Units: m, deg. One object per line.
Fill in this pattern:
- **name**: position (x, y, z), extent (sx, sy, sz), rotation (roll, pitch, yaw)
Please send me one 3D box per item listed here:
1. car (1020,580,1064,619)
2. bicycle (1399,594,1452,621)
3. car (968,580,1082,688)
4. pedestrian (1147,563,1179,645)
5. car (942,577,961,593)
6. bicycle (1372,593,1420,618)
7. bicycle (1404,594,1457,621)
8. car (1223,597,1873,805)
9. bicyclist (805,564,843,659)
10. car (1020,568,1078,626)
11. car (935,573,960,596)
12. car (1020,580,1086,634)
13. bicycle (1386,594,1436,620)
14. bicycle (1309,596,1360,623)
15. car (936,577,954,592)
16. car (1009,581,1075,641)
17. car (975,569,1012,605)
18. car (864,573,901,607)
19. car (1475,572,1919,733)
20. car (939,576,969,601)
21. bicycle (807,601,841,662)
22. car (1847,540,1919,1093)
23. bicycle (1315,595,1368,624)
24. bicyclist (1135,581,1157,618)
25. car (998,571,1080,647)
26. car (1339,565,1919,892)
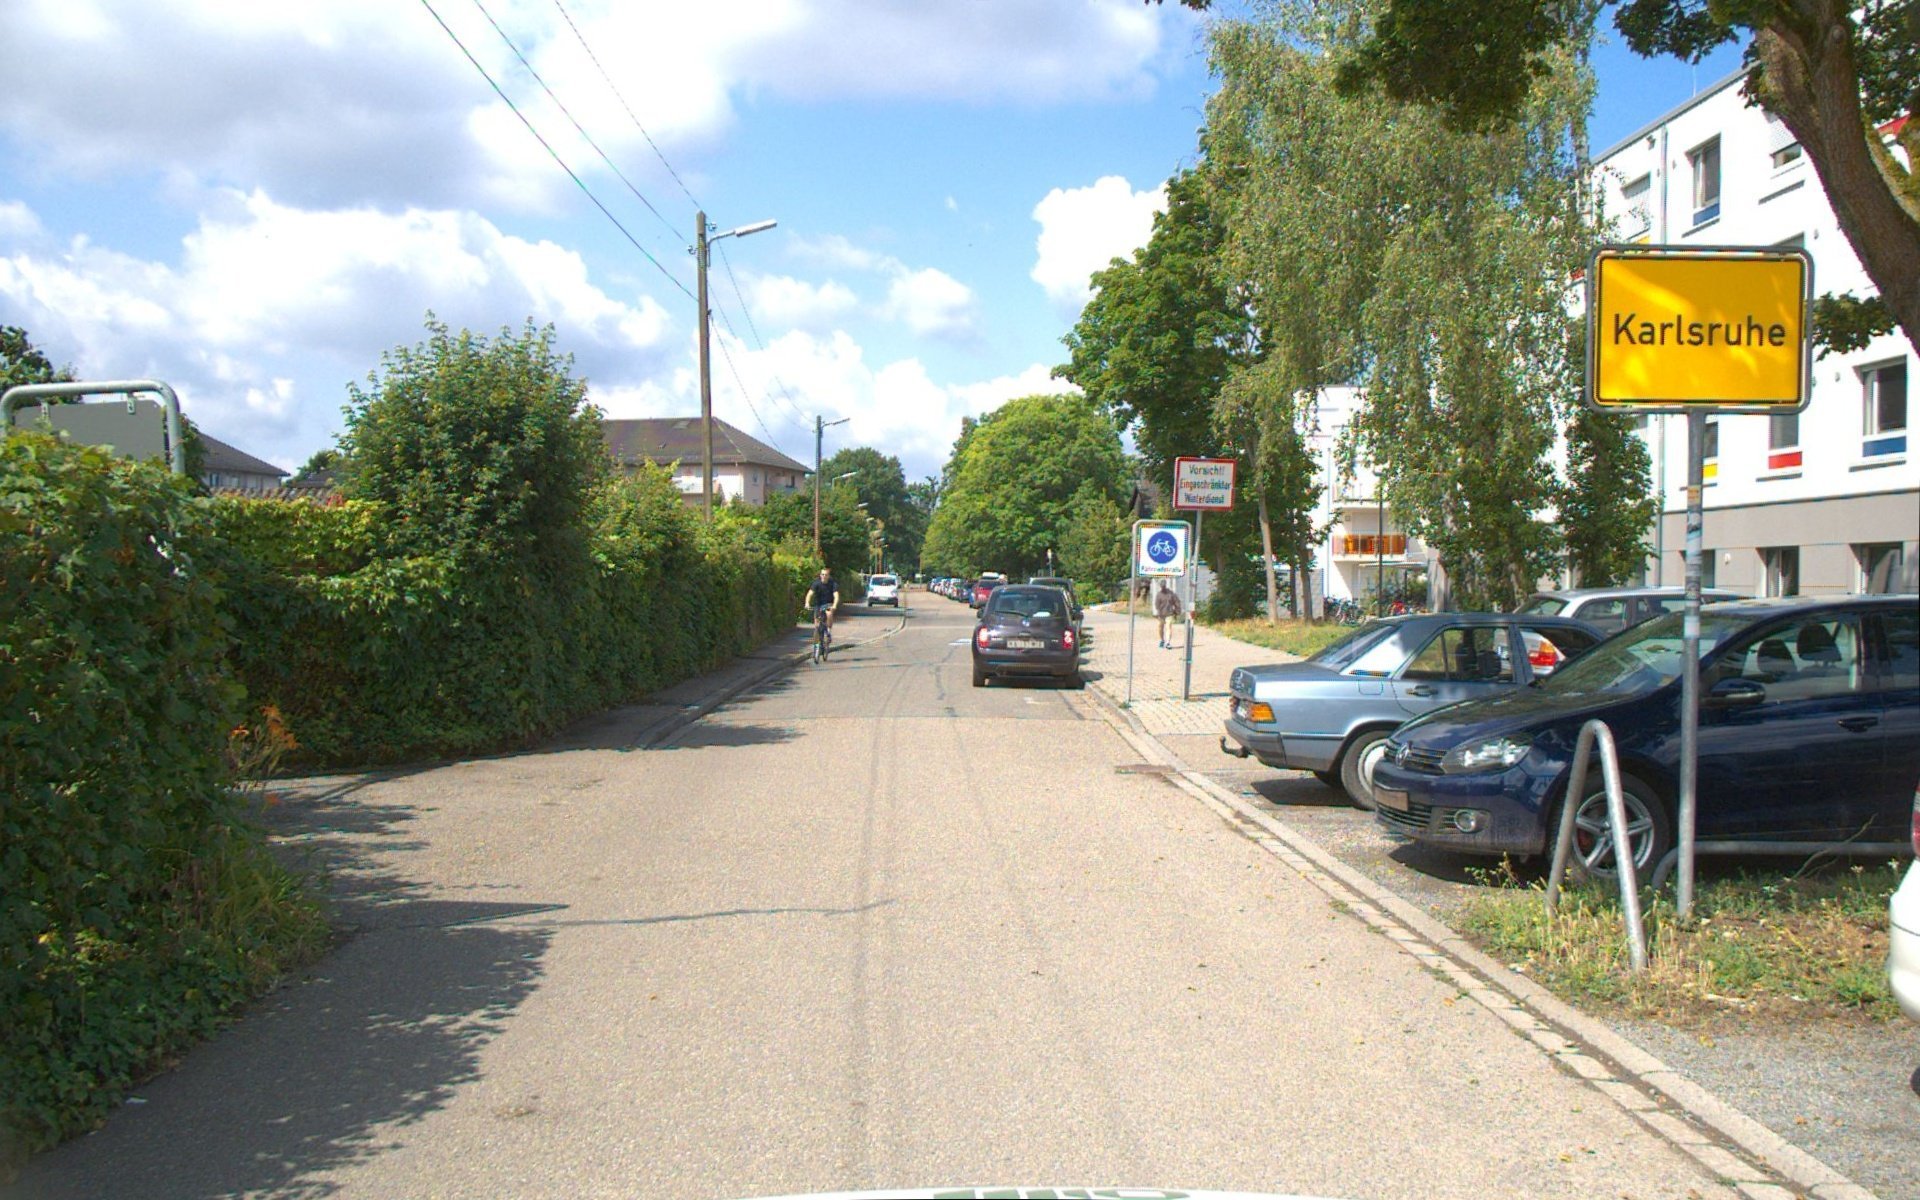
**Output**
- **car**: position (3.422, -0.030, 69.562), extent (1.644, 1.545, 4.000), rotation (2, 0, 1)
- **bicycle**: position (19.725, 0.319, 70.095), extent (2.005, 1.098, 0.688), rotation (-1, 0, 1)
- **car**: position (1.054, 0.484, 26.197), extent (1.629, 1.532, 4.002), rotation (2, 0, 3)
- **pedestrian**: position (4.498, 0.079, 36.587), extent (0.597, 1.776, 0.722), rotation (2, 0, 11)
- **car**: position (-0.858, -1.591, 173.844), extent (1.813, 1.646, 4.002), rotation (0, 0, 3)
- **bicycle**: position (20.004, 0.258, 75.903), extent (2.005, 1.098, 0.688), rotation (-1, 0, 1)
- **bicycle**: position (19.704, 0.314, 69.232), extent (2.005, 1.098, 0.688), rotation (-1, 0, 1)
- **car**: position (4.220, 0.705, 12.378), extent (4.268, 1.416, 1.719), rotation (0, 0, 2)
- **bicyclist**: position (-2.745, 0.228, 33.512), extent (0.645, 1.884, 1.043), rotation (-1, 0, 0)
- **car**: position (2.988, -0.116, 55.688), extent (1.835, 1.837, 3.433), rotation (2, 0, 3)
- **car**: position (-1.074, -1.342, 144.164), extent (2.016, 1.996, 4.541), rotation (2, 0, 1)
- **car**: position (2.667, 0.194, 48.161), extent (1.629, 1.460, 3.541), rotation (2, 0, -1)
- **bicycle**: position (19.815, 0.289, 72.761), extent (2.005, 1.098, 0.688), rotation (-1, 0, 1)
- **bicycle**: position (15.951, 0.395, 70.433), extent (2.005, 1.098, 0.688), rotation (-1, 0, 1)
- **car**: position (-1.725, -1.775, 188.629), extent (1.813, 1.646, 4.001), rotation (2, 0, 3)
- **car**: position (2.145, 0.271, 43.348), extent (1.629, 1.464, 3.745), rotation (2, 0, 3)
- **car**: position (1.886, -0.741, 94.385), extent (2.016, 1.959, 4.541), rotation (2, 0, 1)
- **car**: position (-4.404, -0.584, 94.272), extent (1.863, 1.845, 4.000), rotation (2, 0, 1)
- **car**: position (7.682, 0.503, 17.060), extent (4.156, 1.455, 1.758), rotation (-2, 0, -3)
- **car**: position (-0.398, -0.830, 119.282), extent (2.016, 1.681, 4.541), rotation (2, 0, 1)
- **bicycle**: position (-2.745, 0.614, 33.530), extent (0.507, 1.170, 1.827), rotation (-1, 0, 0)
- **car**: position (4.535, 0.669, 4.375), extent (3.504, 1.576, 1.665), rotation (2, 0, -5)
- **bicycle**: position (15.887, 0.402, 68.836), extent (2.045, 1.139, 0.625), rotation (-1, 0, 3)
- **bicyclist**: position (9.293, -0.007, 82.512), extent (0.770, 1.817, 0.892), rotation (2, 0, 30)
- **car**: position (1.823, 0.187, 37.282), extent (1.628, 1.579, 3.639), rotation (2, 0, 5)
- **car**: position (4.305, 0.664, 9.271), extent (3.855, 1.586, 1.866), rotation (2, 0, -4)
